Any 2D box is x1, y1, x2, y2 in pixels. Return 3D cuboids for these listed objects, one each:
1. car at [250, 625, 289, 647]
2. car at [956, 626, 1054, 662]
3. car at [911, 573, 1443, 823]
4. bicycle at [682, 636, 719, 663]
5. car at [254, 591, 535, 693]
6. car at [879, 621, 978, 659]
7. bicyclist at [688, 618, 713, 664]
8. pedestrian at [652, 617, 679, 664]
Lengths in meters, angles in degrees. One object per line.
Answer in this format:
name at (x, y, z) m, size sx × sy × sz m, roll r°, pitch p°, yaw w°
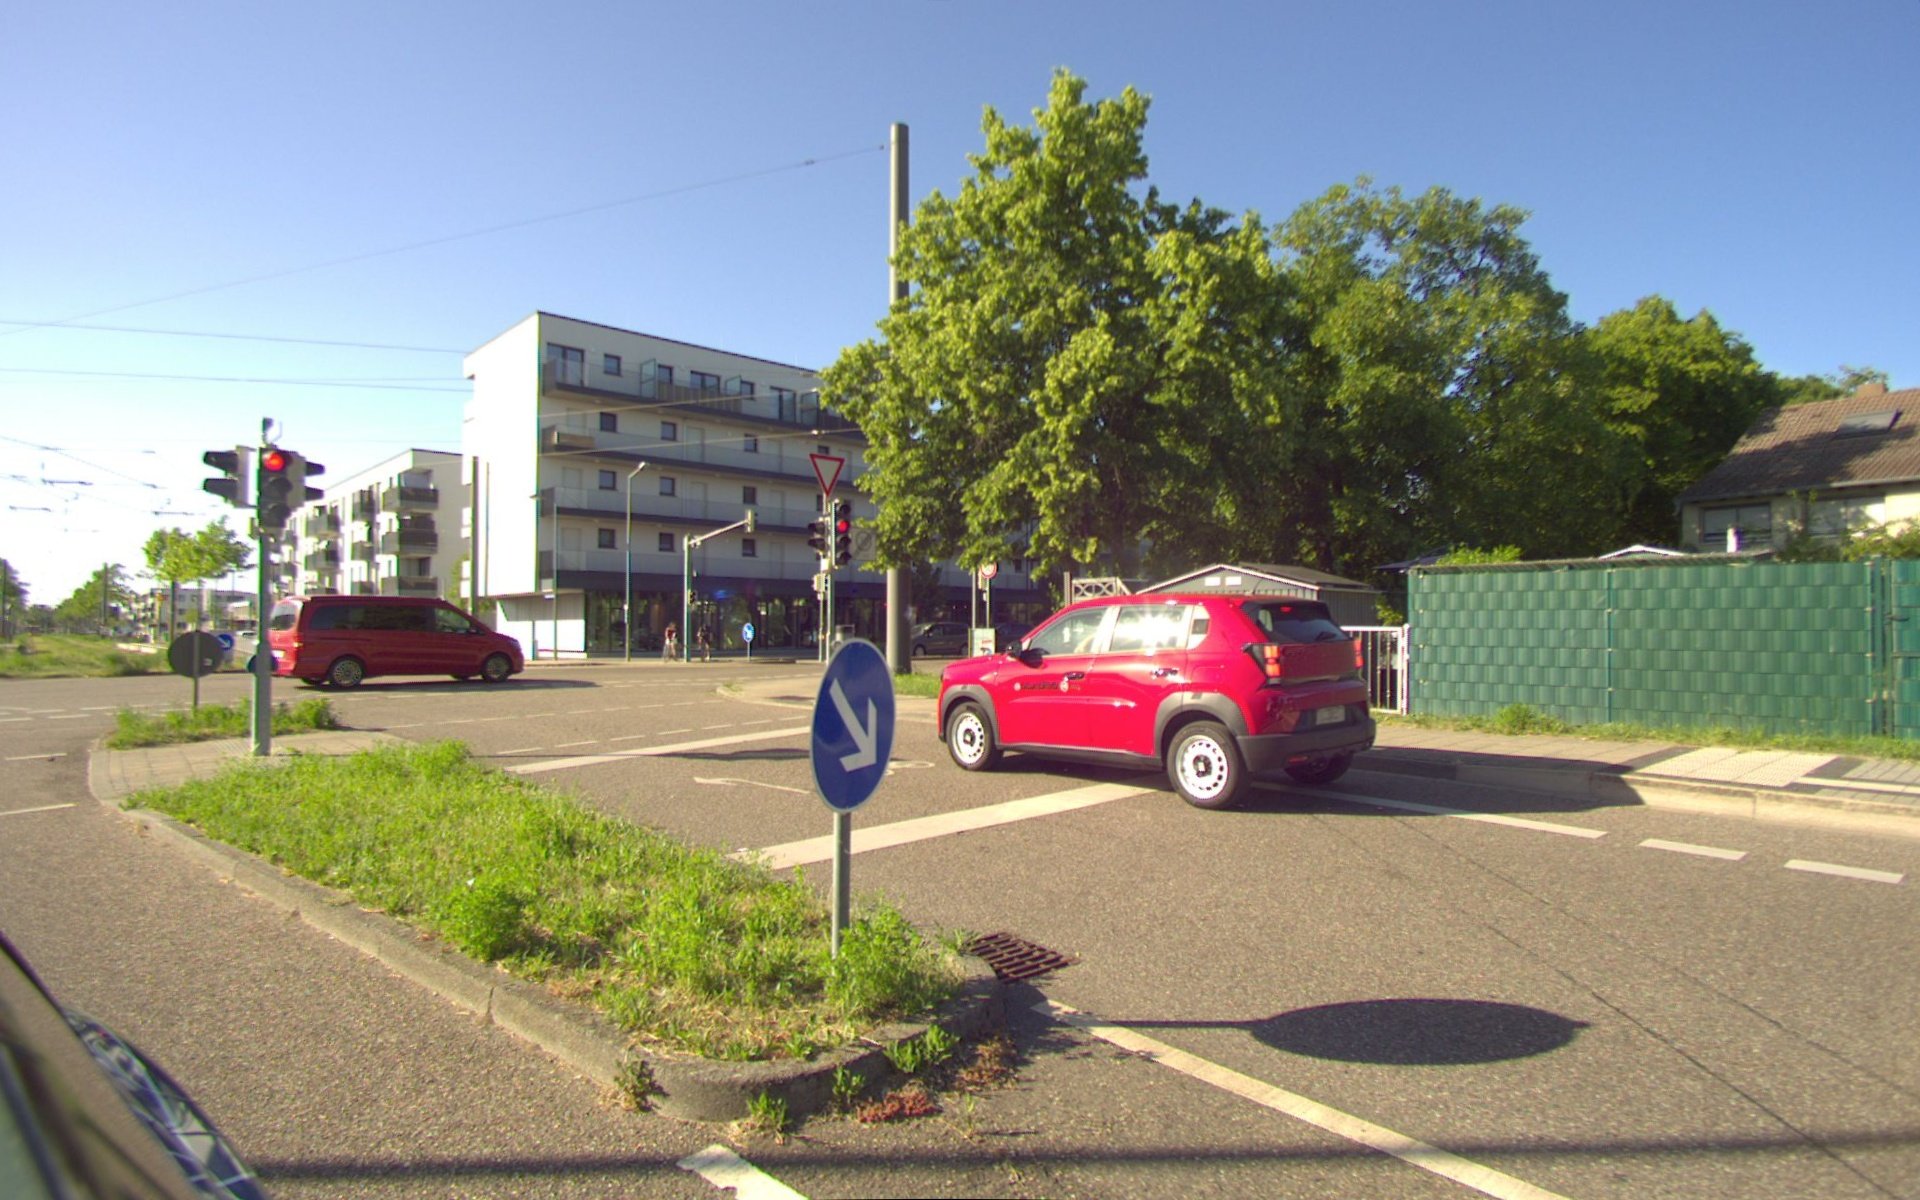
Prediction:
car at (-55.643, 2.885, 81.518) m, size 1.969 × 1.565 × 4.005 m, roll 2°, pitch -1°, yaw -42°
car at (2.319, 2.205, 51.388) m, size 5.120 × 1.751 × 2.002 m, roll 2°, pitch -3°, yaw -43°
car at (1.607, 0.688, 8.728) m, size 1.915 × 1.601 × 4.187 m, roll 1°, pitch -2°, yaw -40°
bicycle at (-11.667, 2.220, 45.501) m, size 1.640 × 1.152 × 0.736 m, roll -2°, pitch -3°, yaw 36°
car at (-12.380, 0.855, 22.486) m, size 2.126 × 1.984 × 5.019 m, roll 1°, pitch -1°, yaw 37°
car at (-1.362, 1.740, 44.473) m, size 3.936 × 1.583 × 2.004 m, roll 1°, pitch -3°, yaw -39°
bicyclist at (-11.663, 1.826, 45.503) m, size 0.793 × 2.029 × 0.801 m, roll -2°, pitch -3°, yaw 36°
pedestrian at (-13.043, 1.786, 44.812) m, size 0.980 × 2.029 × 0.750 m, roll -2°, pitch -3°, yaw 43°
